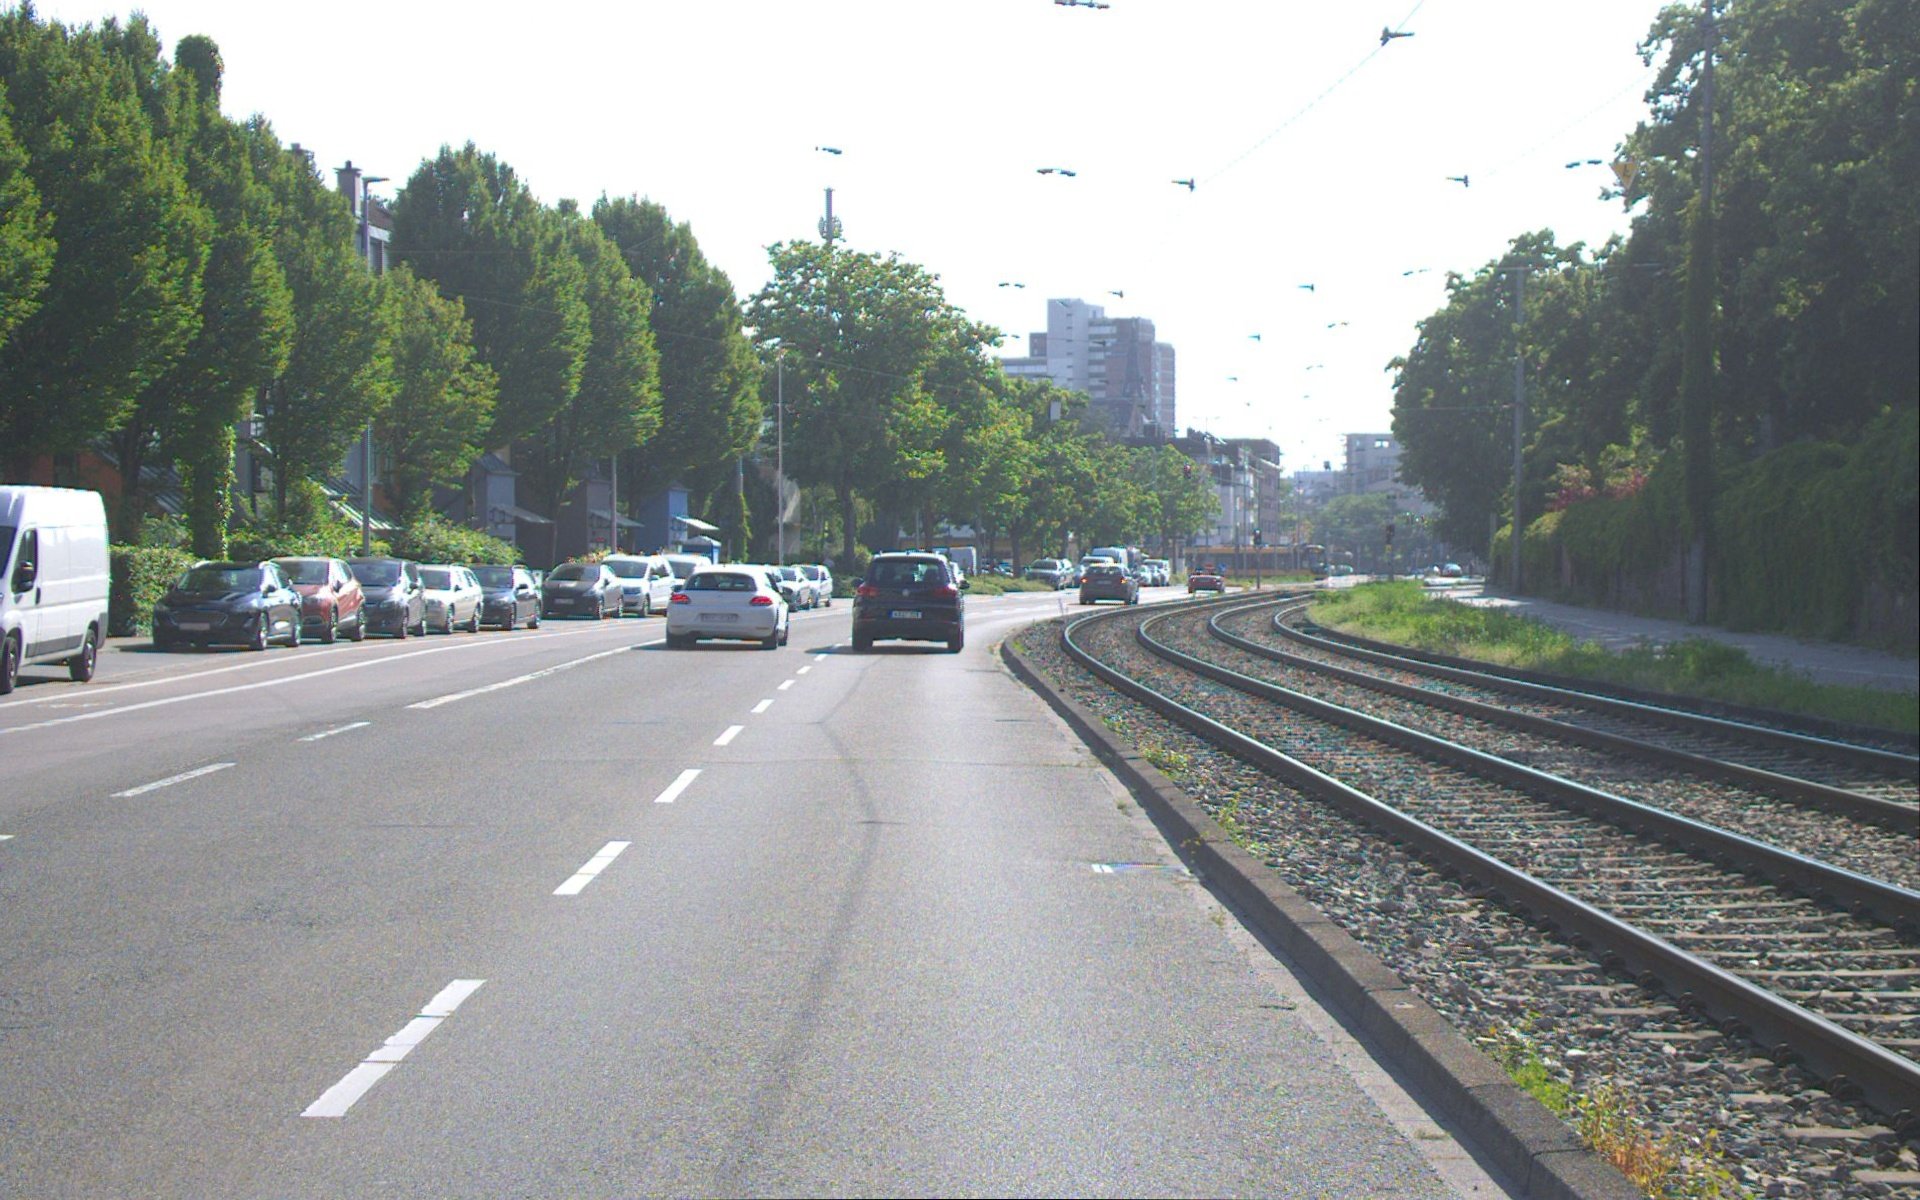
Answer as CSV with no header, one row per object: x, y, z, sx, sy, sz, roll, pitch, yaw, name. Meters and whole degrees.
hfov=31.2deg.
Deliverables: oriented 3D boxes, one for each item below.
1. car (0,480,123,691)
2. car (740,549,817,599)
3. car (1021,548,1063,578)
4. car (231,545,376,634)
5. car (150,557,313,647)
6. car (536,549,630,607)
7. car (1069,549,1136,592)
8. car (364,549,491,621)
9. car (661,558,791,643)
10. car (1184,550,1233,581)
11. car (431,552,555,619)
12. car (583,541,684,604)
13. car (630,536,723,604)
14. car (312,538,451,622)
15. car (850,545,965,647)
-12.277,-0.265,42.989,2.152,2.449,6.184,2,1,-1,car
-6.183,-0.899,117.446,1.763,1.533,3.980,5,1,9,car
4.607,-2.093,192.676,1.732,1.652,3.998,0,1,10,car
-12.058,-0.193,63.368,1.762,1.568,4.162,0,0,2,car
-12.183,-0.003,57.764,1.652,1.419,4.713,0,1,1,car
-10.037,-0.602,91.714,1.616,1.461,4.057,2,1,6,car
5.011,-1.040,120.752,1.812,1.444,3.998,2,1,10,car
-11.499,-0.315,74.540,1.712,1.466,4.844,2,0,3,car
-3.858,-0.016,57.226,1.865,1.343,4.000,1,1,0,car
12.049,-1.669,166.538,1.812,1.444,3.998,2,1,12,car
-10.873,-0.361,80.390,1.710,1.467,4.908,2,1,6,car
-9.177,-0.784,97.031,1.669,1.695,4.822,2,1,8,car
-8.483,-0.909,103.218,1.763,1.839,4.579,5,1,7,car
-11.639,-0.411,69.392,1.763,1.568,4.298,2,1,4,car
-0.851,-0.086,57.728,1.811,1.639,4.000,1,1,0,car
